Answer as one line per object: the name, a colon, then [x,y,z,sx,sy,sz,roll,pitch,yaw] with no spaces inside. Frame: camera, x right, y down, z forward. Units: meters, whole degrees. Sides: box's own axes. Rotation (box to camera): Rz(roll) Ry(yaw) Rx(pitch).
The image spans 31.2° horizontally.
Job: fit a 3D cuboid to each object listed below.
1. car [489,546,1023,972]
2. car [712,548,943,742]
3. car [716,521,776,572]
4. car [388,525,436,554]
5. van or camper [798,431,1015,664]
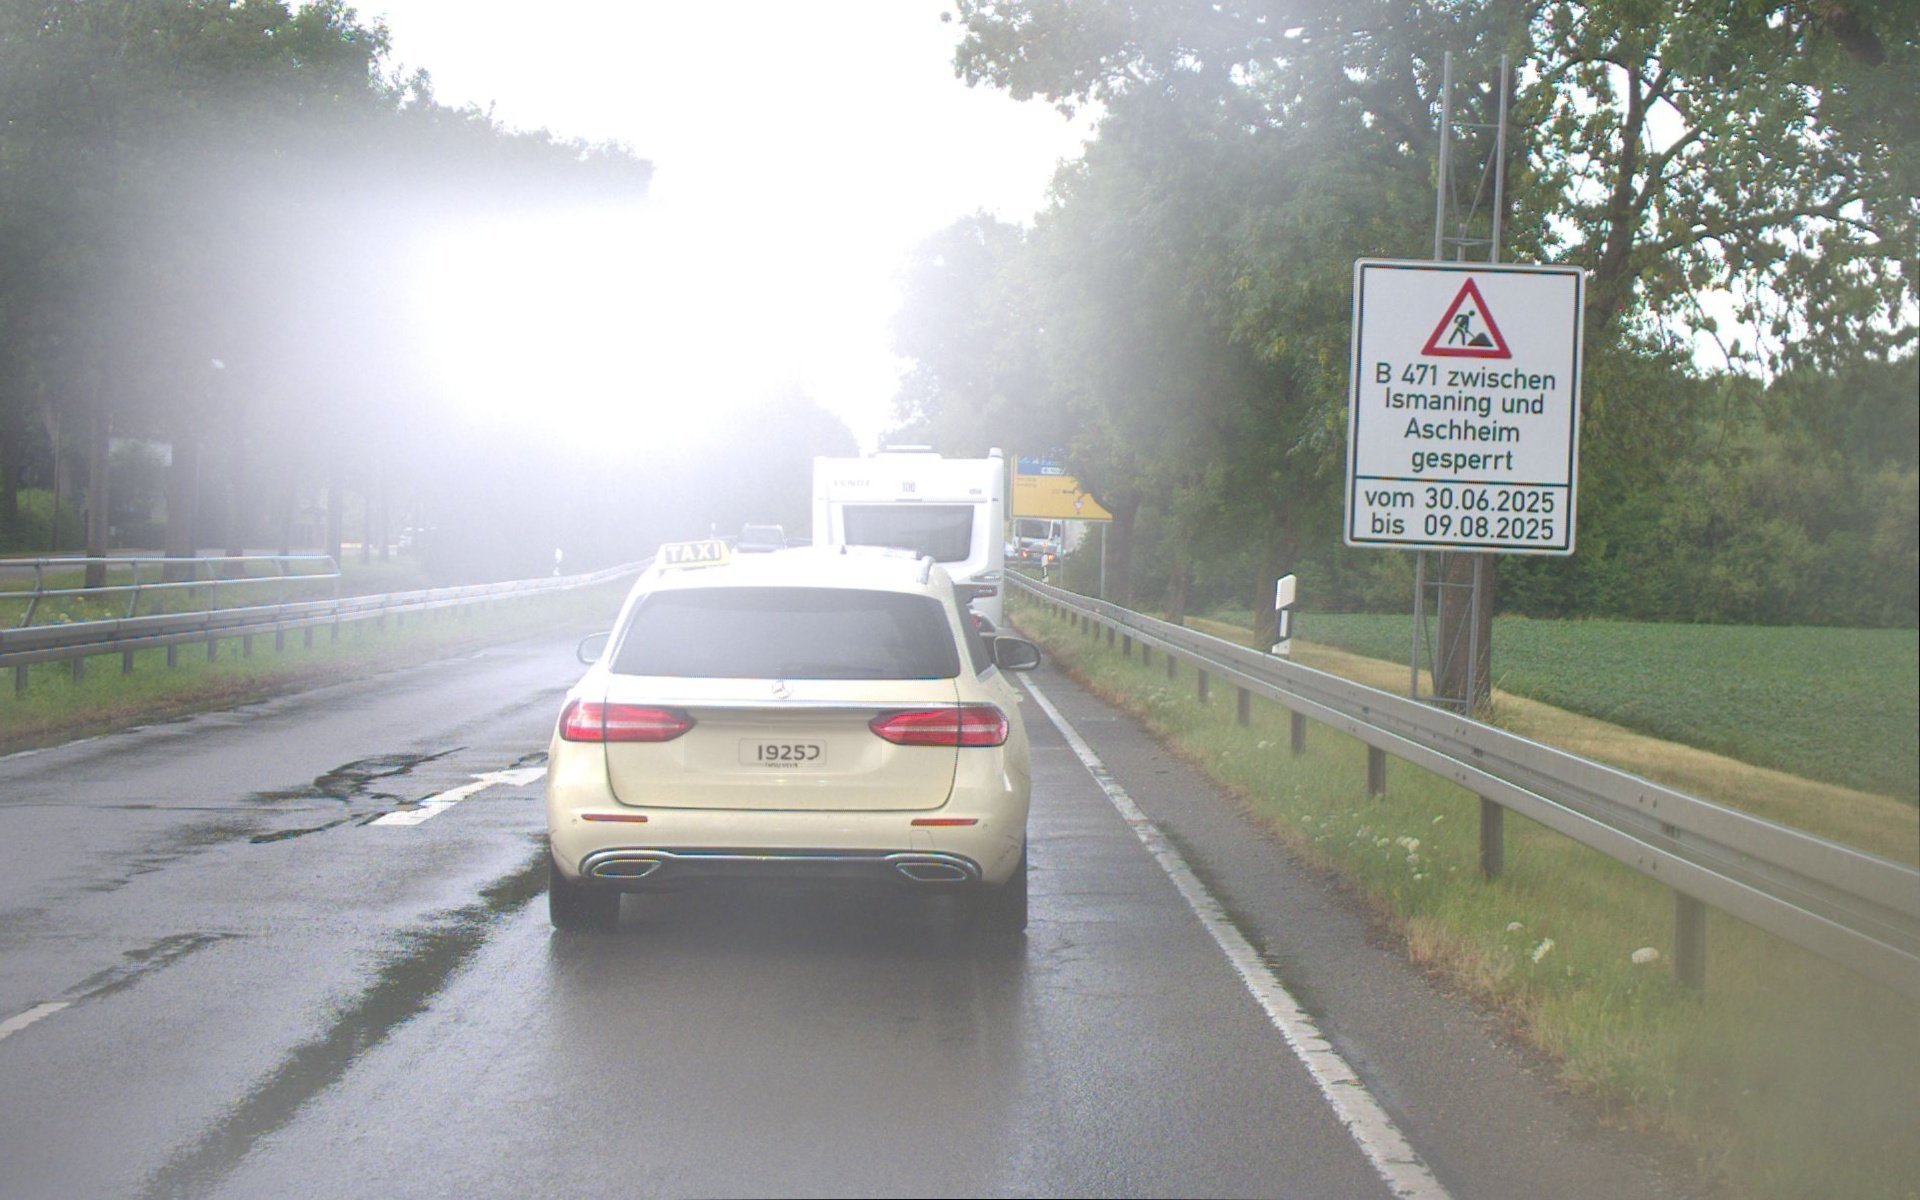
car: [-0.694,0.525,14.040,1.865,1.471,4.000,0,1,1]
car: [-1.000,0.309,27.744,1.664,1.426,4.000,0,1,1]
car: [-6.858,-1.729,110.359,1.764,1.614,4.000,0,1,-1]
car: [-28.534,-3.153,178.969,1.785,1.411,4.000,2,1,1]
van or camper: [-0.601,-0.664,43.008,2.489,2.676,5.700,1,1,1]
